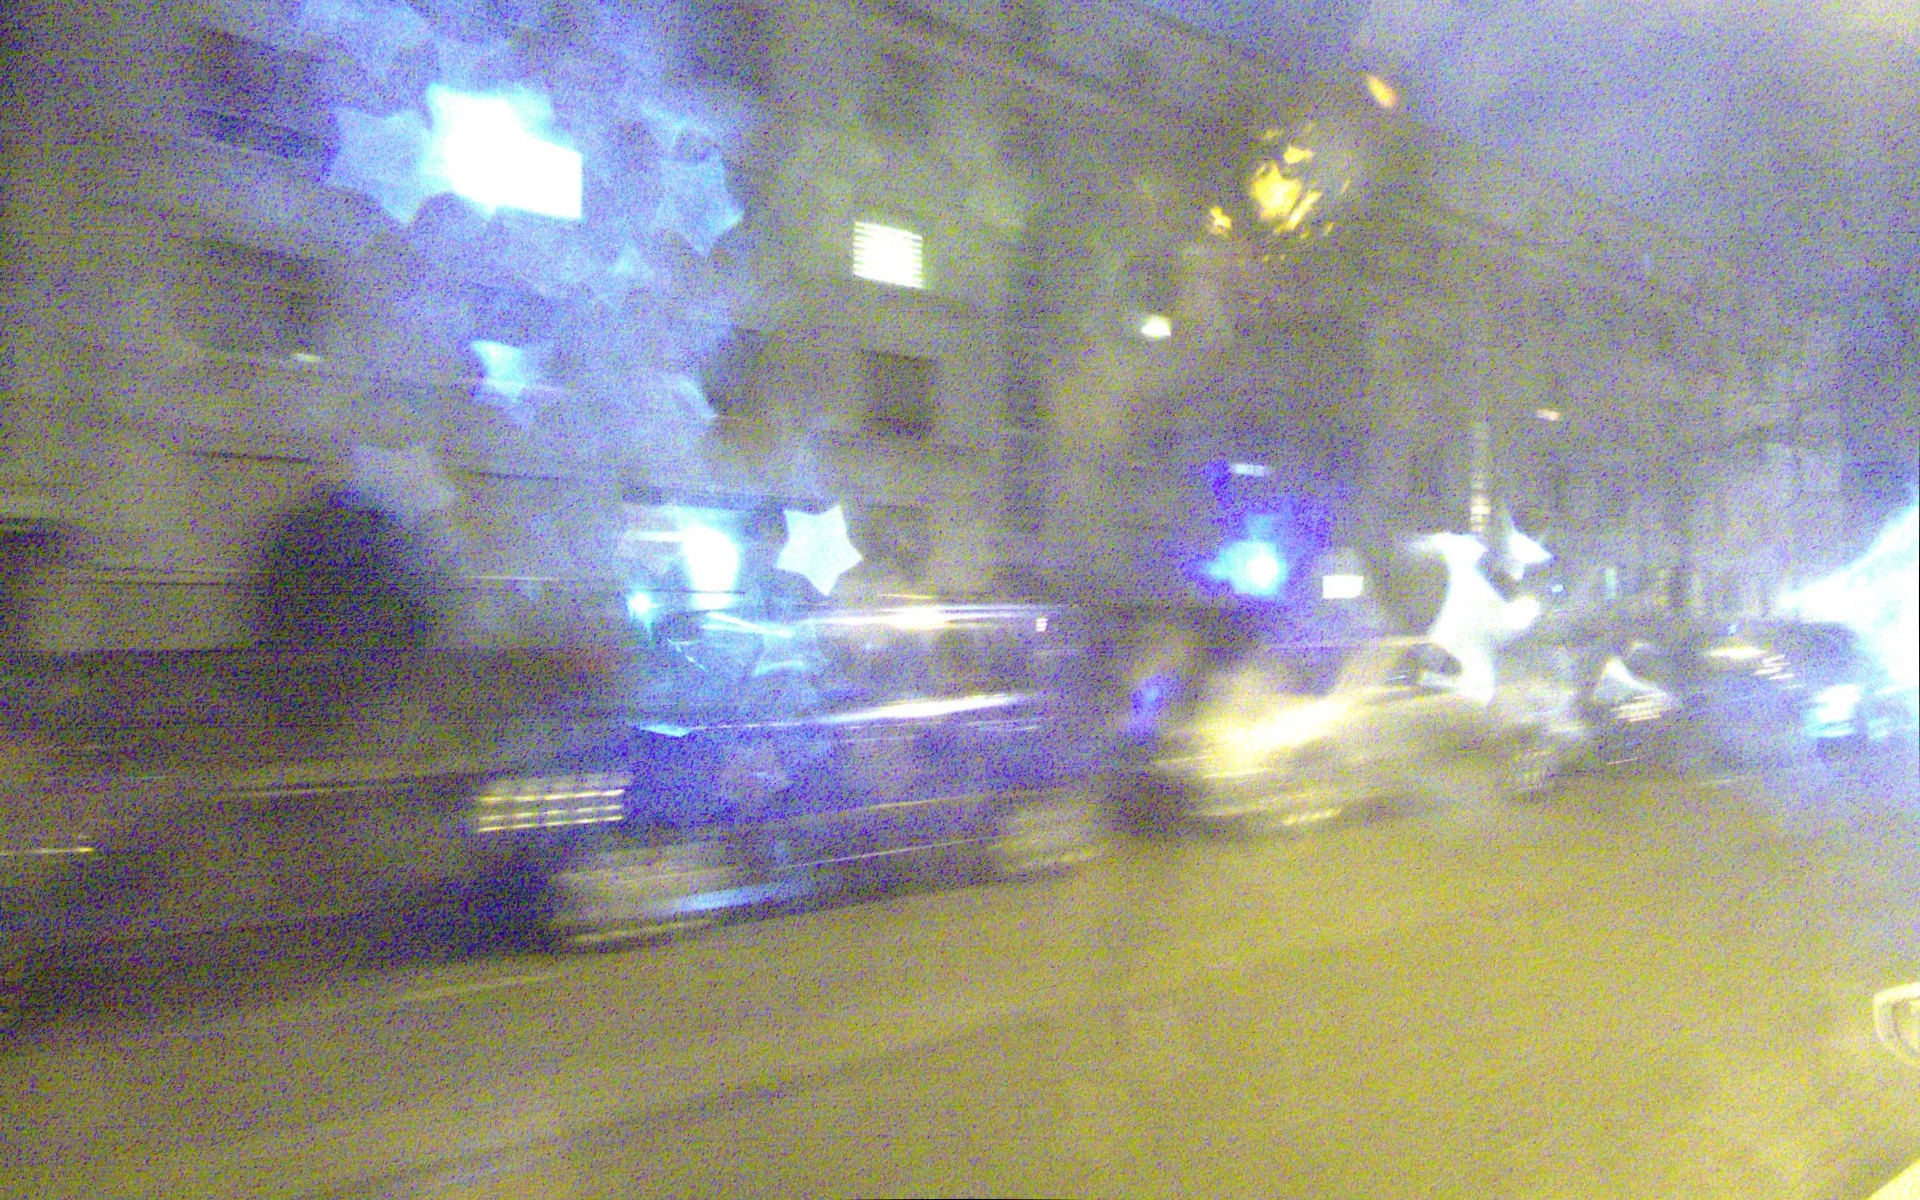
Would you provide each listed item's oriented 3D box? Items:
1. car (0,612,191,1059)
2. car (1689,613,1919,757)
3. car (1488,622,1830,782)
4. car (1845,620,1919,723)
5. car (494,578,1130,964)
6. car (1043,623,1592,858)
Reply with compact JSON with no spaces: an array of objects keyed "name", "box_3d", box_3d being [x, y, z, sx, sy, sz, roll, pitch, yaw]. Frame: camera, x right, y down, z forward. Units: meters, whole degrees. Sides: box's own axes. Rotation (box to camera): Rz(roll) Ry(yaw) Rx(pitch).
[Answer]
[{"name":"car","box_3d":[-4.757,0.833,3.302,3.333,1.479,1.426,0,-5,-30]},{"name":"car","box_3d":[11.513,1.037,13.134,4.208,1.625,1.591,0,-5,-31]},{"name":"car","box_3d":[7.685,1.023,10.954,3.961,1.450,1.590,1,-5,-33]},{"name":"car","box_3d":[15.804,1.060,15.749,4.224,1.505,1.591,0,-5,-31]},{"name":"car","box_3d":[-0.790,0.802,5.834,3.337,1.640,1.467,1,-5,-33]},{"name":"car","box_3d":[3.151,0.989,8.407,4.879,1.475,1.629,1,-5,-33]}]
